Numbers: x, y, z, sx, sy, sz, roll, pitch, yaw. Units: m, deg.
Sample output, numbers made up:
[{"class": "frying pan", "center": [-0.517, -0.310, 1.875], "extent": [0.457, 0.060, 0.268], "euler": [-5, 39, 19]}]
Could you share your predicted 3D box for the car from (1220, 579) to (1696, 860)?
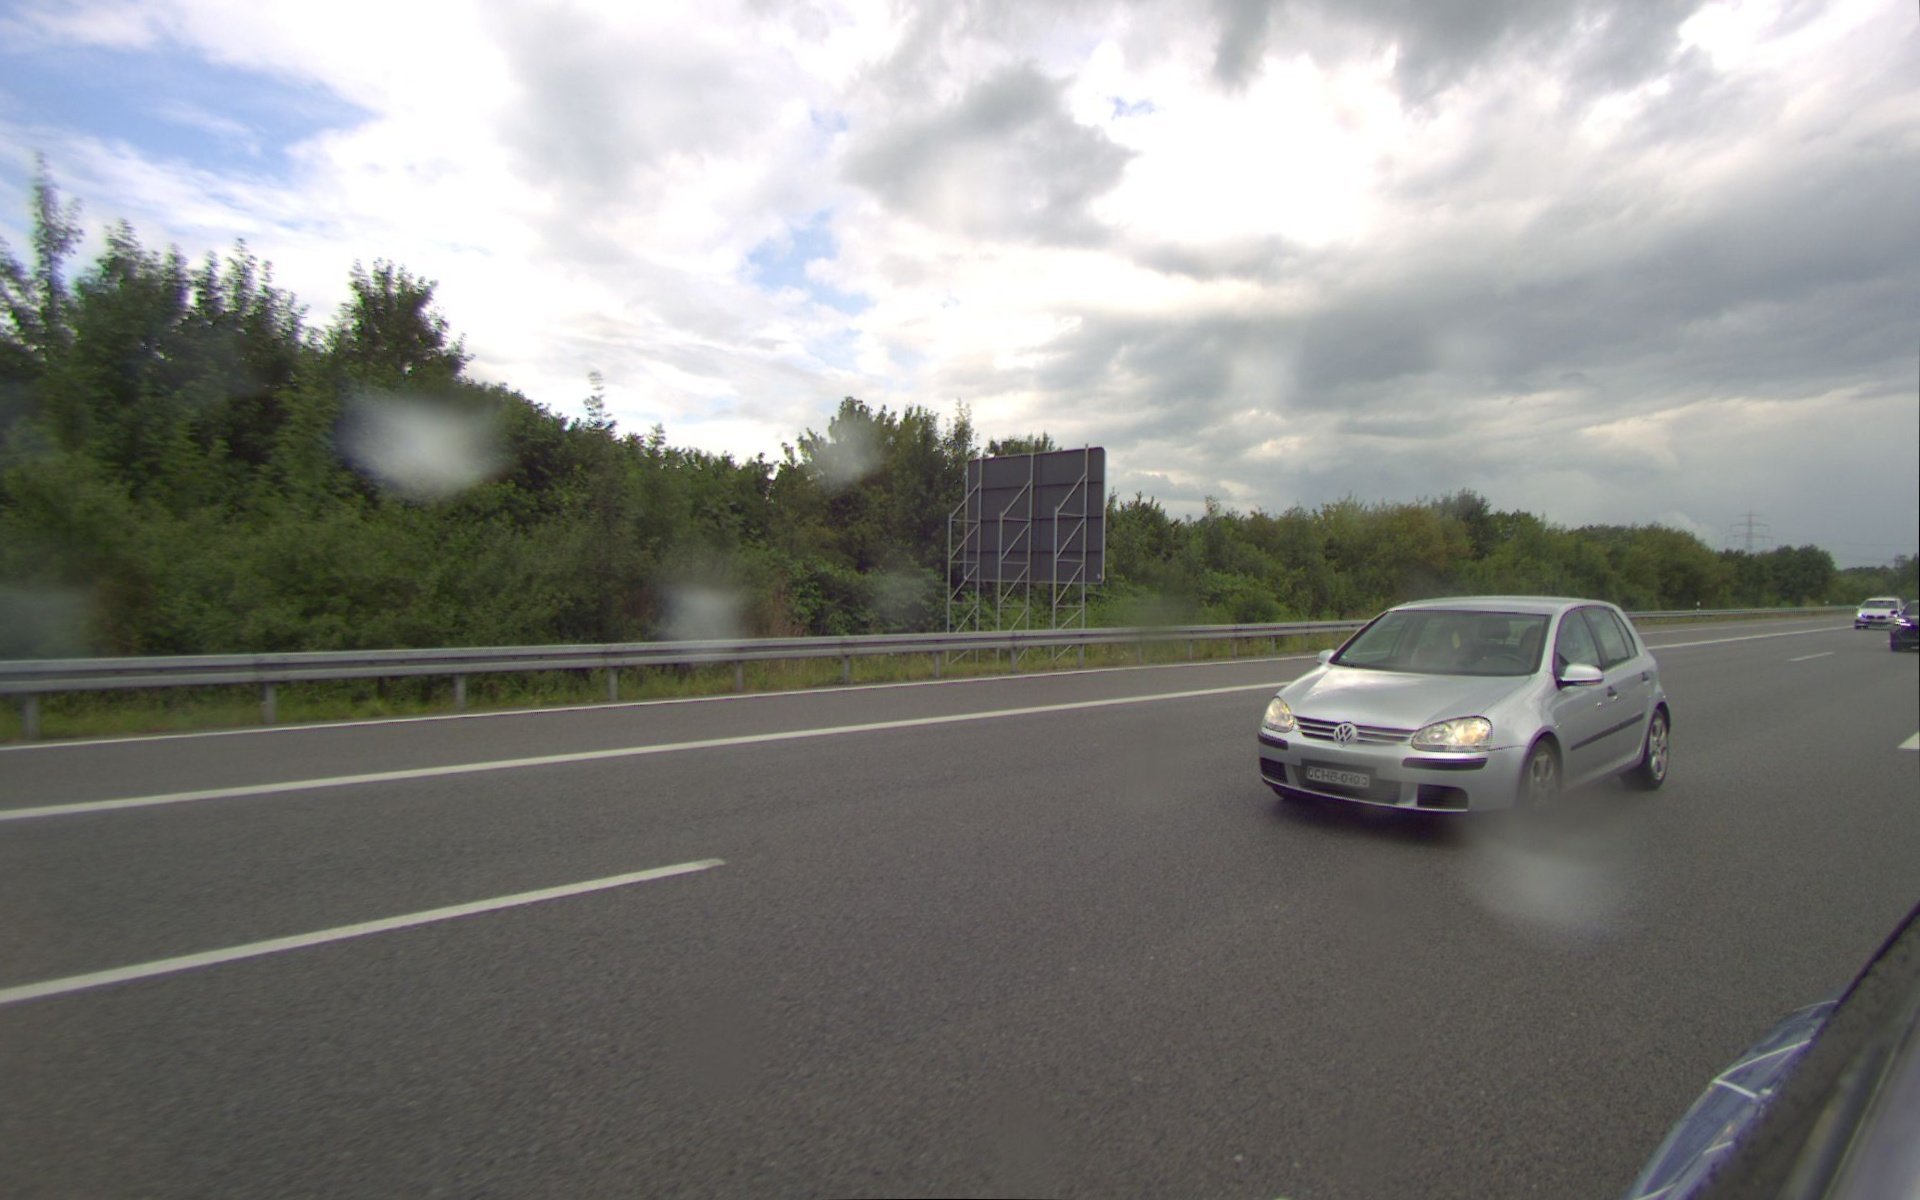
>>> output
[{"class": "car", "center": [3.801, 0.625, 7.413], "extent": [3.968, 1.495, 1.798], "euler": [0, 1, -42]}]

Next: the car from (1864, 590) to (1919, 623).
[{"class": "car", "center": [47.716, 0.322, 51.753], "extent": [4.617, 1.619, 1.812], "euler": [0, 1, -43]}]

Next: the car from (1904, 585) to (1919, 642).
[{"class": "car", "center": [29.425, 0.392, 30.025], "extent": [4.520, 1.633, 1.783], "euler": [0, 1, -43]}]
